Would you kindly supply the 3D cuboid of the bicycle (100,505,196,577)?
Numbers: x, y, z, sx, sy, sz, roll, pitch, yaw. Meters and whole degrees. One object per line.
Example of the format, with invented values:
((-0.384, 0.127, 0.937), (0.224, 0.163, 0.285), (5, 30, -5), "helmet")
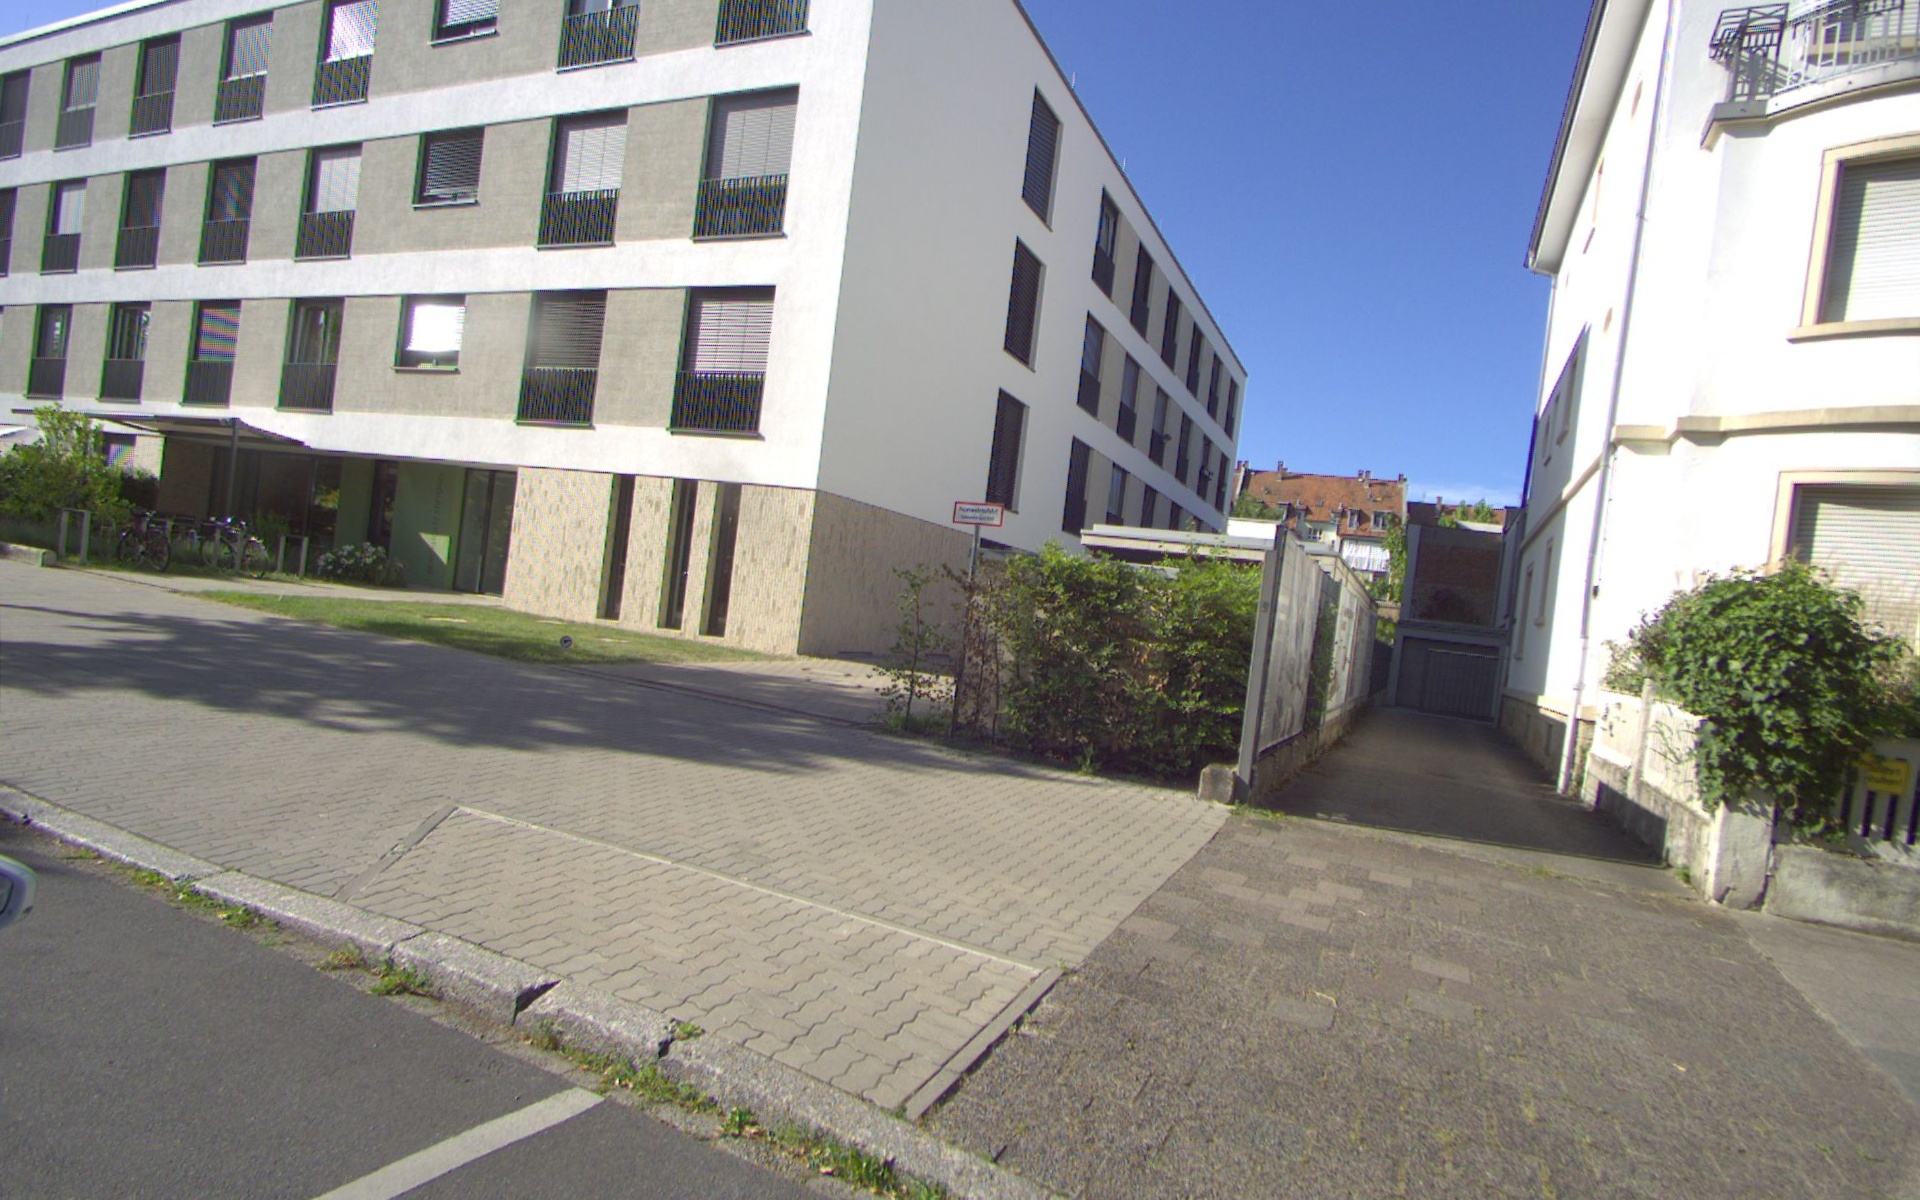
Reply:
((-14.341, -1.045, 17.767), (1.660, 1.068, 0.547), (7, 2, 23), "bicycle")

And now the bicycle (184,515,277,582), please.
((-13.798, -0.975, 19.020), (1.747, 1.068, 0.547), (7, 2, 23), "bicycle")
